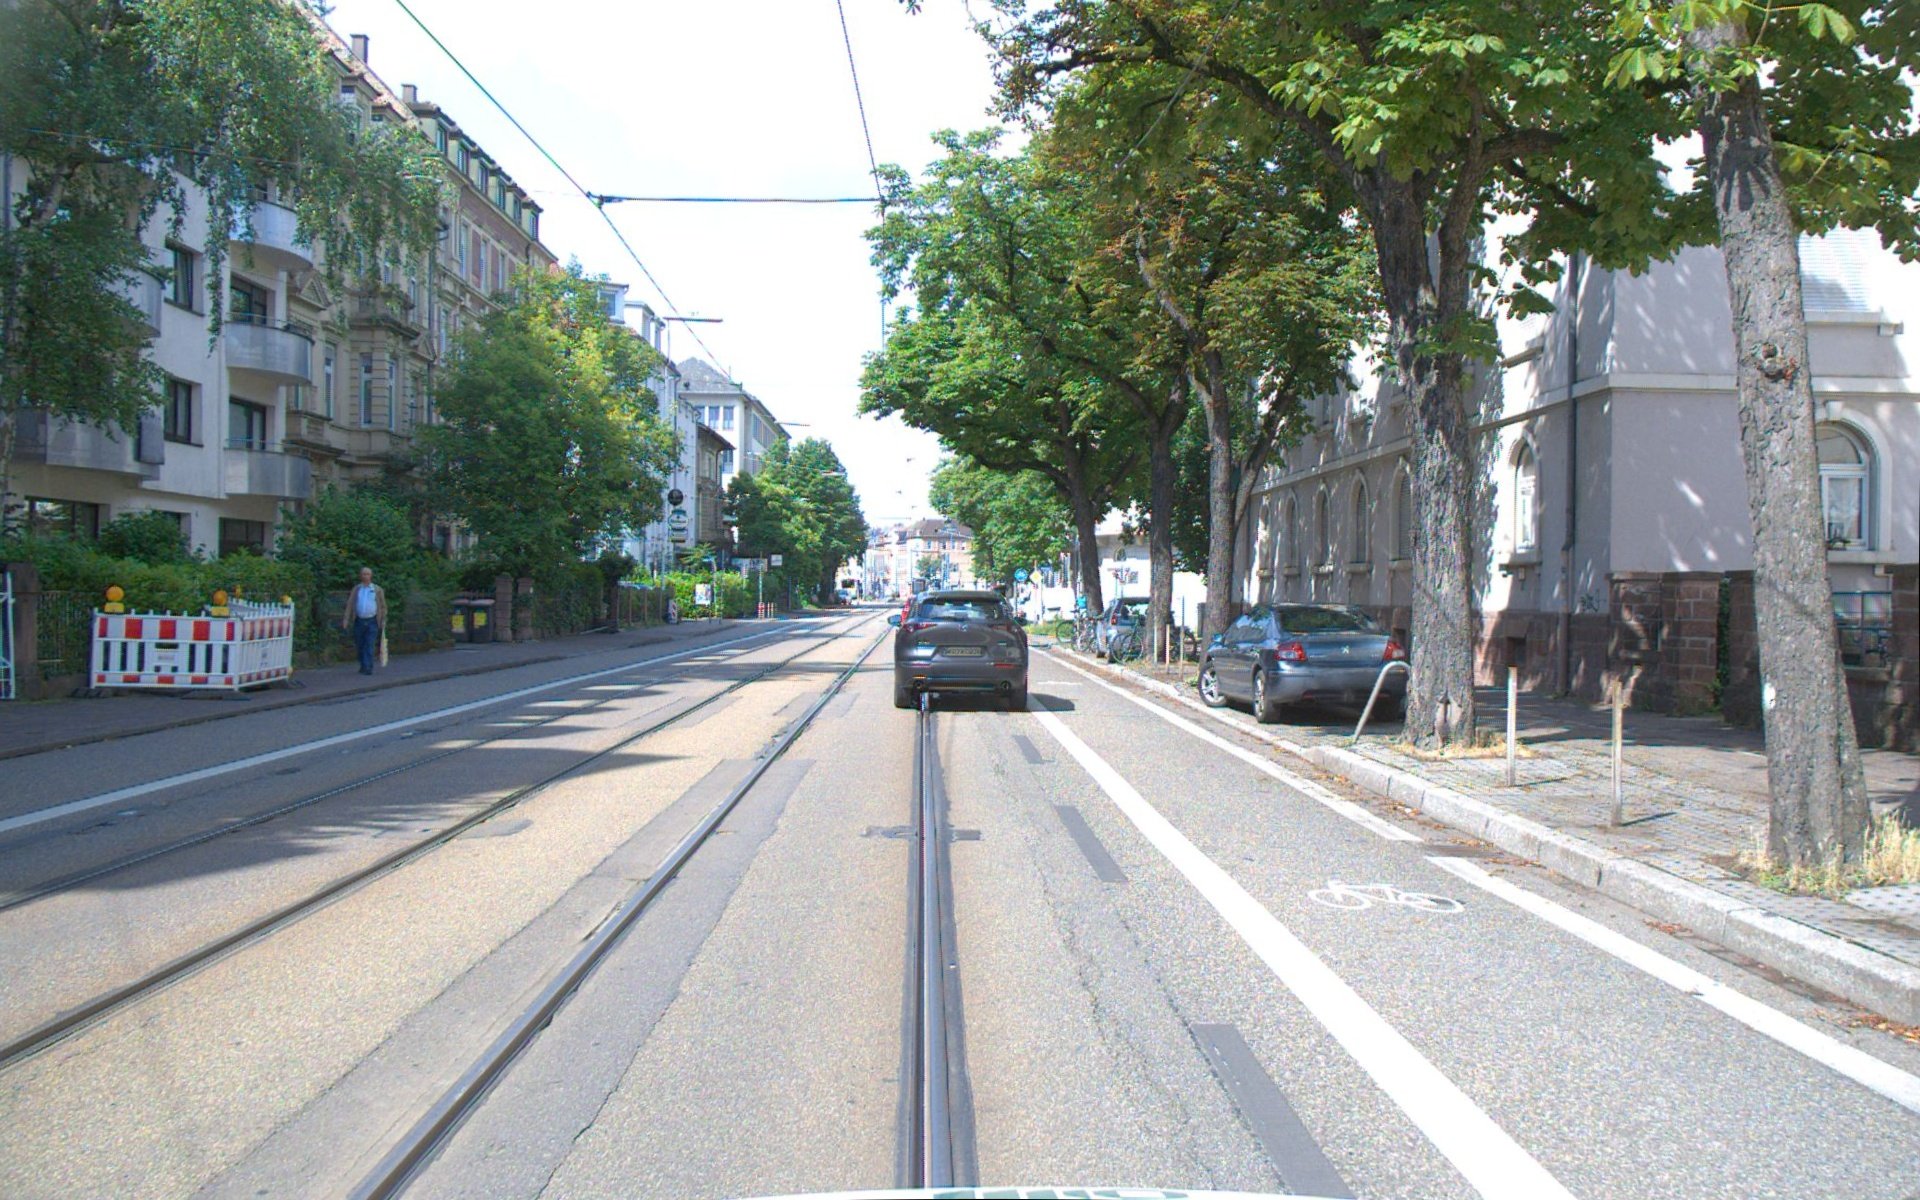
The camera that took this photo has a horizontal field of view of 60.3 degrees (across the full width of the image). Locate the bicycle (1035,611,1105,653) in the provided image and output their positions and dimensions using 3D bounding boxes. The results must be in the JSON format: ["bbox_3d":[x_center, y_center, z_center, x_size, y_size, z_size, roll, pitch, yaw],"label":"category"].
[{"bbox_3d":[2.966,0.862,44.624,1.865,1.091,0.402,1,0,-1],"label":"bicycle"}]

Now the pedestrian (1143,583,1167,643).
[{"bbox_3d":[6.144,0.415,52.153,0.598,1.868,0.878,0,-2,-4],"label":"pedestrian"}]

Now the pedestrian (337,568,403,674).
[{"bbox_3d":[-9.875,0.351,27.712,0.806,1.736,0.890,0,0,-5],"label":"pedestrian"}]

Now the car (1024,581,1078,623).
[{"bbox_3d":[4.398,0.069,80.810,1.753,1.972,4.983,0,0,-7],"label":"car"}]

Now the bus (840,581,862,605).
[{"bbox_3d":[-16.920,-1.064,256.821,2.637,3.481,11.000,3,0,-7],"label":"bus"}]

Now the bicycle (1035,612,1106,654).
[{"bbox_3d":[2.953,0.874,44.224,1.865,1.091,0.402,1,0,-1],"label":"bicycle"}]

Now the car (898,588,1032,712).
[{"bbox_3d":[0.011,0.623,22.673,1.686,1.553,3.588,0,0,-2],"label":"car"}]

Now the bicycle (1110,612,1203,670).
[{"bbox_3d":[4.116,0.852,34.595,1.895,1.196,0.513,-1,-1,10],"label":"bicycle"}]

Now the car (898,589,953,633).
[{"bbox_3d":[-1.343,0.405,63.438,1.953,1.555,3.999,3,0,-2],"label":"car"}]

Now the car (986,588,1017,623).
[{"bbox_3d":[2.416,0.327,97.429,1.685,2.003,4.206,0,0,-1],"label":"car"}]

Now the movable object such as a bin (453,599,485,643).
[{"bbox_3d":[-12.619,0.537,42.497,0.538,1.127,0.790,0,0,3],"label":"movable object such as a bin"}]

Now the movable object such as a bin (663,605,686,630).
[{"bbox_3d":[-11.877,0.714,68.833,0.730,1.005,1.114,3,0,-2],"label":"movable object such as a bin"}]

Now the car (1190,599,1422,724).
[{"bbox_3d":[4.395,0.728,21.735,1.810,1.434,4.391,-1,0,-4],"label":"car"}]

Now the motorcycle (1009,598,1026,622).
[{"bbox_3d":[3.155,0.524,91.044,0.778,1.293,2.421,0,0,-2],"label":"motorcycle"}]

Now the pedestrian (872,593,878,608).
[{"bbox_3d":[-12.078,0.048,235.225,0.867,2.049,0.617,0,0,-5],"label":"pedestrian"}]

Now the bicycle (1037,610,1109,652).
[{"bbox_3d":[2.993,0.823,43.694,1.865,1.091,0.402,1,0,-1],"label":"bicycle"}]

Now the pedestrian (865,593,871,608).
[{"bbox_3d":[-13.047,0.059,235.212,0.867,2.049,0.617,0,0,-5],"label":"pedestrian"}]

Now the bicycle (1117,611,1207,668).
[{"bbox_3d":[4.293,0.834,35.100,1.853,1.196,0.513,-1,-1,10],"label":"bicycle"}]

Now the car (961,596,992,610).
[{"bbox_3d":[2.235,0.362,222.828,3.749,1.646,1.628,3,0,-20],"label":"car"}]

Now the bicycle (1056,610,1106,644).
[{"bbox_3d":[3.558,0.783,48.661,1.460,1.000,0.259,0,-1,0],"label":"bicycle"}]

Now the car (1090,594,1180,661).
[{"bbox_3d":[4.100,0.617,39.224,1.632,1.455,3.765,-2,0,-1],"label":"car"}]

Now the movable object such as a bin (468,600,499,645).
[{"bbox_3d":[-12.170,0.567,42.229,0.526,1.113,0.790,0,0,3],"label":"movable object such as a bin"}]

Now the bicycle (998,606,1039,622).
[{"bbox_3d":[3.305,0.808,93.563,2.229,0.876,0.671,1,0,-3],"label":"bicycle"}]

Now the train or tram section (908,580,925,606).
[{"bbox_3d":[-6.558,-1.016,250.252,2.519,3.838,13.023,0,0,-1],"label":"train or tram section"}]
